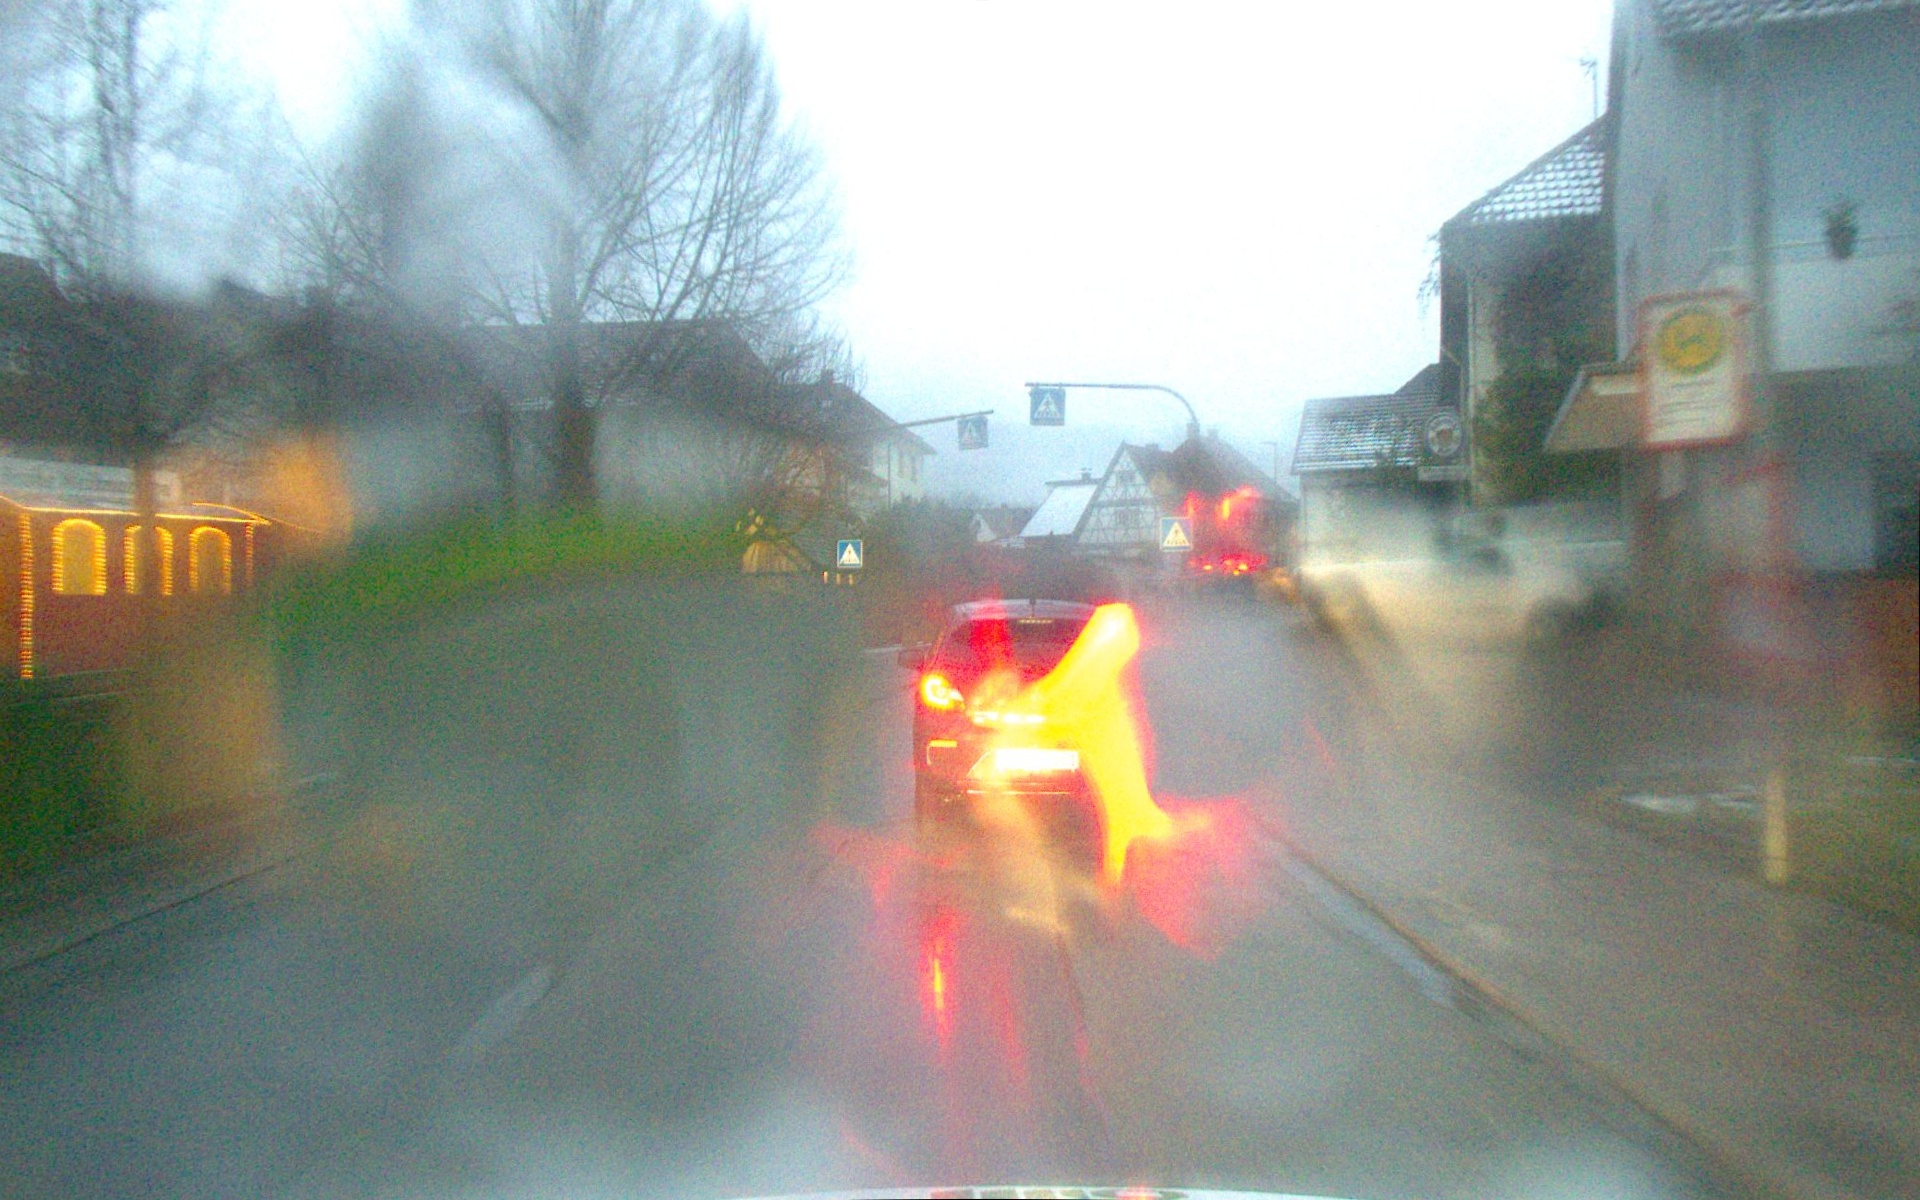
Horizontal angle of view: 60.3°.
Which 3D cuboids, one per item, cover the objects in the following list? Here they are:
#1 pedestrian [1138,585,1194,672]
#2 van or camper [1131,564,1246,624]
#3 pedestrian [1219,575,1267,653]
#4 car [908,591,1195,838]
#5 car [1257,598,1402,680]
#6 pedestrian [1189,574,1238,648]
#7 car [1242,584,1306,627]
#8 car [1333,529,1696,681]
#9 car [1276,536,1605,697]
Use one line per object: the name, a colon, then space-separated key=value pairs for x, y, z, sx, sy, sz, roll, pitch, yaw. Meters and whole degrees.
pedestrian: x=4.393 y=0.601 z=35.254 sx=0.861 sy=1.765 sz=0.955 roll=-4 pitch=-1 yaw=21
van or camper: x=13.199 y=-0.343 z=95.598 sx=5.946 sy=3.006 sz=2.402 roll=-4 pitch=-2 yaw=29
pedestrian: x=6.717 y=0.319 z=39.197 sx=0.831 sy=1.763 sz=0.972 roll=-4 pitch=-1 yaw=21
car: x=0.592 y=0.693 z=12.165 sx=1.758 sy=1.502 sz=4.000 roll=0 pitch=0 yaw=1
car: x=7.382 y=0.774 z=33.024 sx=2.704 sy=1.500 sz=1.428 roll=-3 pitch=-1 yaw=14
pedestrian: x=6.053 y=0.252 z=39.439 sx=0.849 sy=1.696 sz=0.992 roll=-4 pitch=-1 yaw=21
car: x=12.888 y=0.214 z=67.747 sx=1.809 sy=1.665 sz=4.336 roll=0 pitch=0 yaw=21
car: x=8.098 y=0.080 z=24.627 sx=4.875 sy=1.922 sz=1.939 roll=-3 pitch=0 yaw=13
car: x=6.328 y=0.229 z=22.203 sx=3.956 sy=1.875 sz=1.865 roll=-3 pitch=-1 yaw=9
